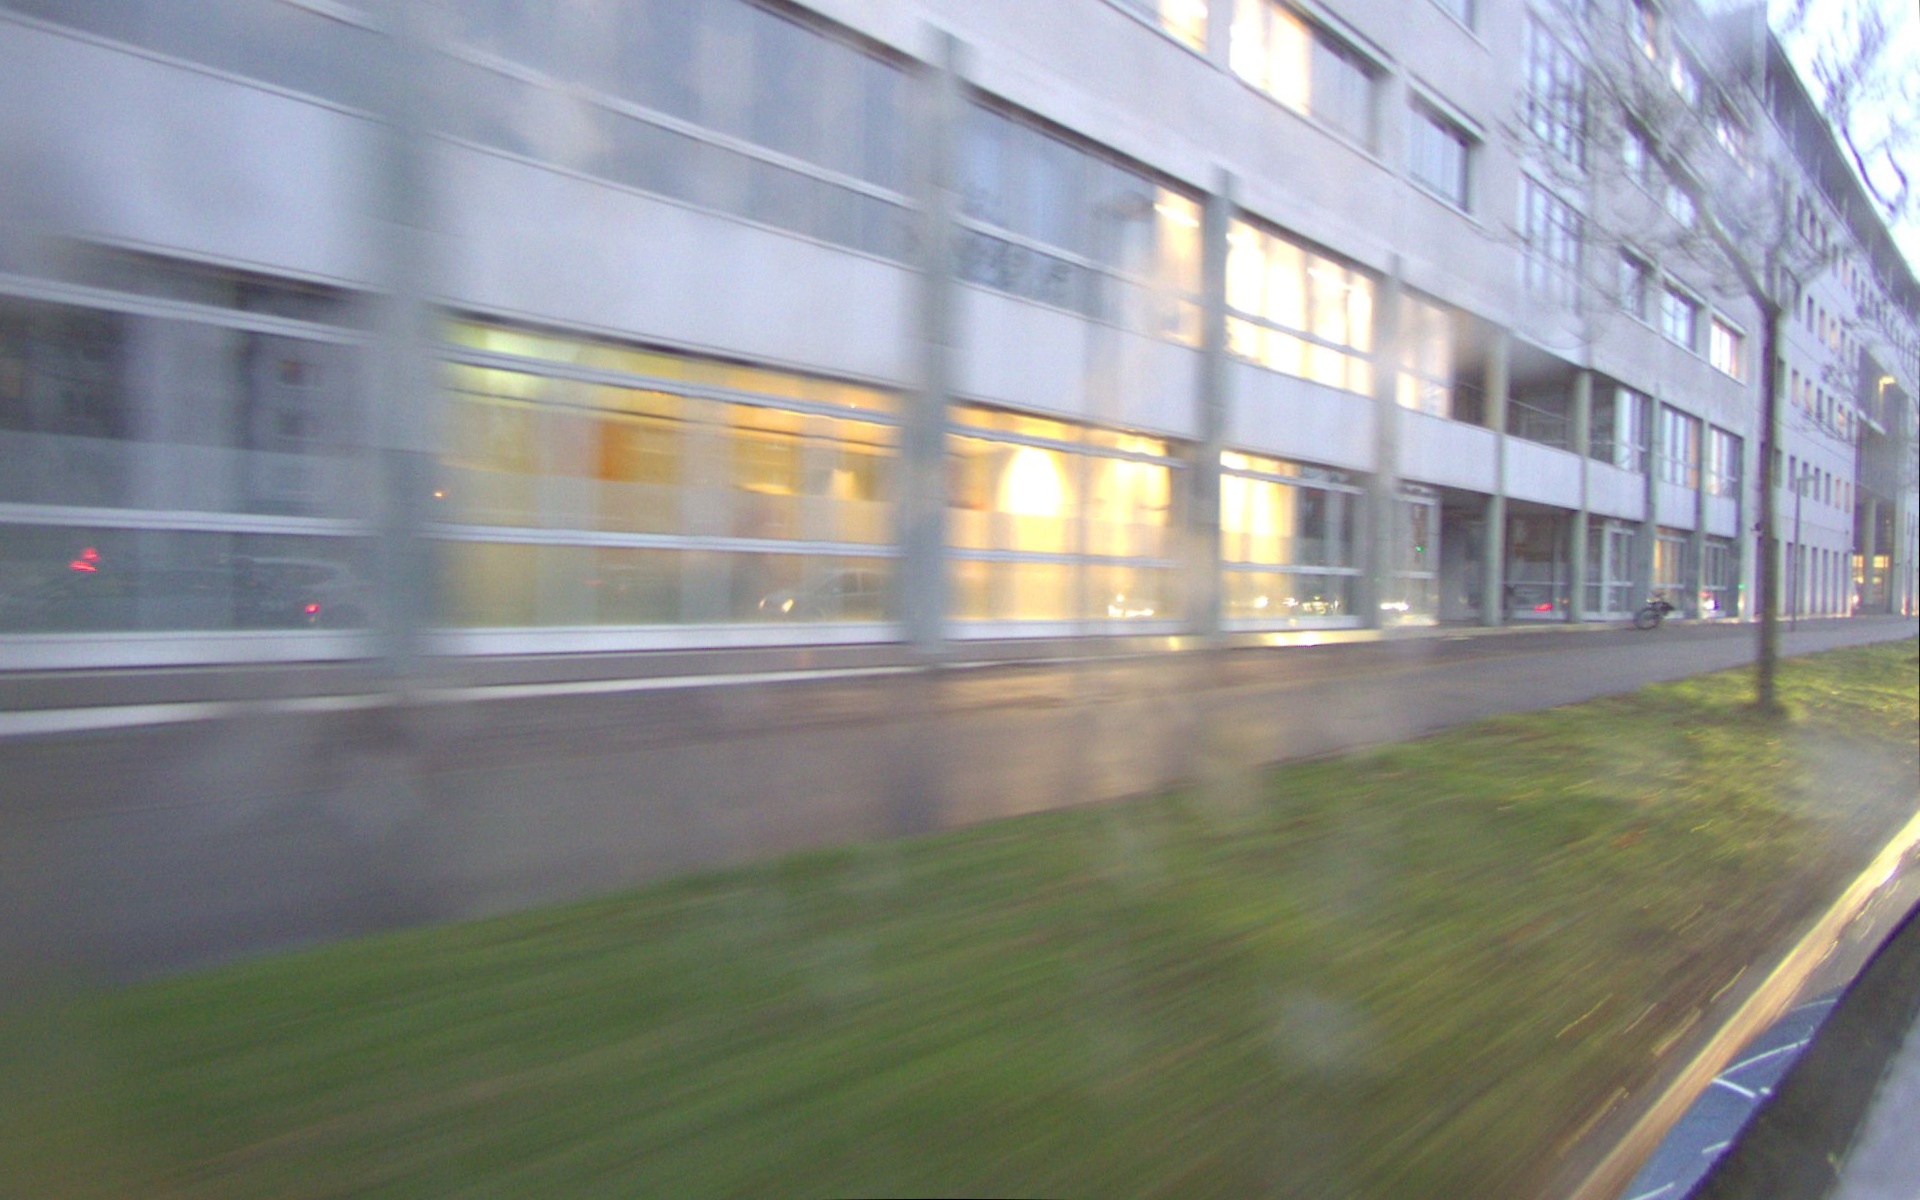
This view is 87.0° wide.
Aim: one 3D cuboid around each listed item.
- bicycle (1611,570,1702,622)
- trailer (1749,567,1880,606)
[{"bbox_3d":[18.869,-0.094,27.397,2.406,1.288,0.827,1,4,-25],"label":"bicycle"},{"bbox_3d":[46.325,-0.741,54.975,2.089,1.935,5.085,2,0,-35],"label":"trailer"}]
